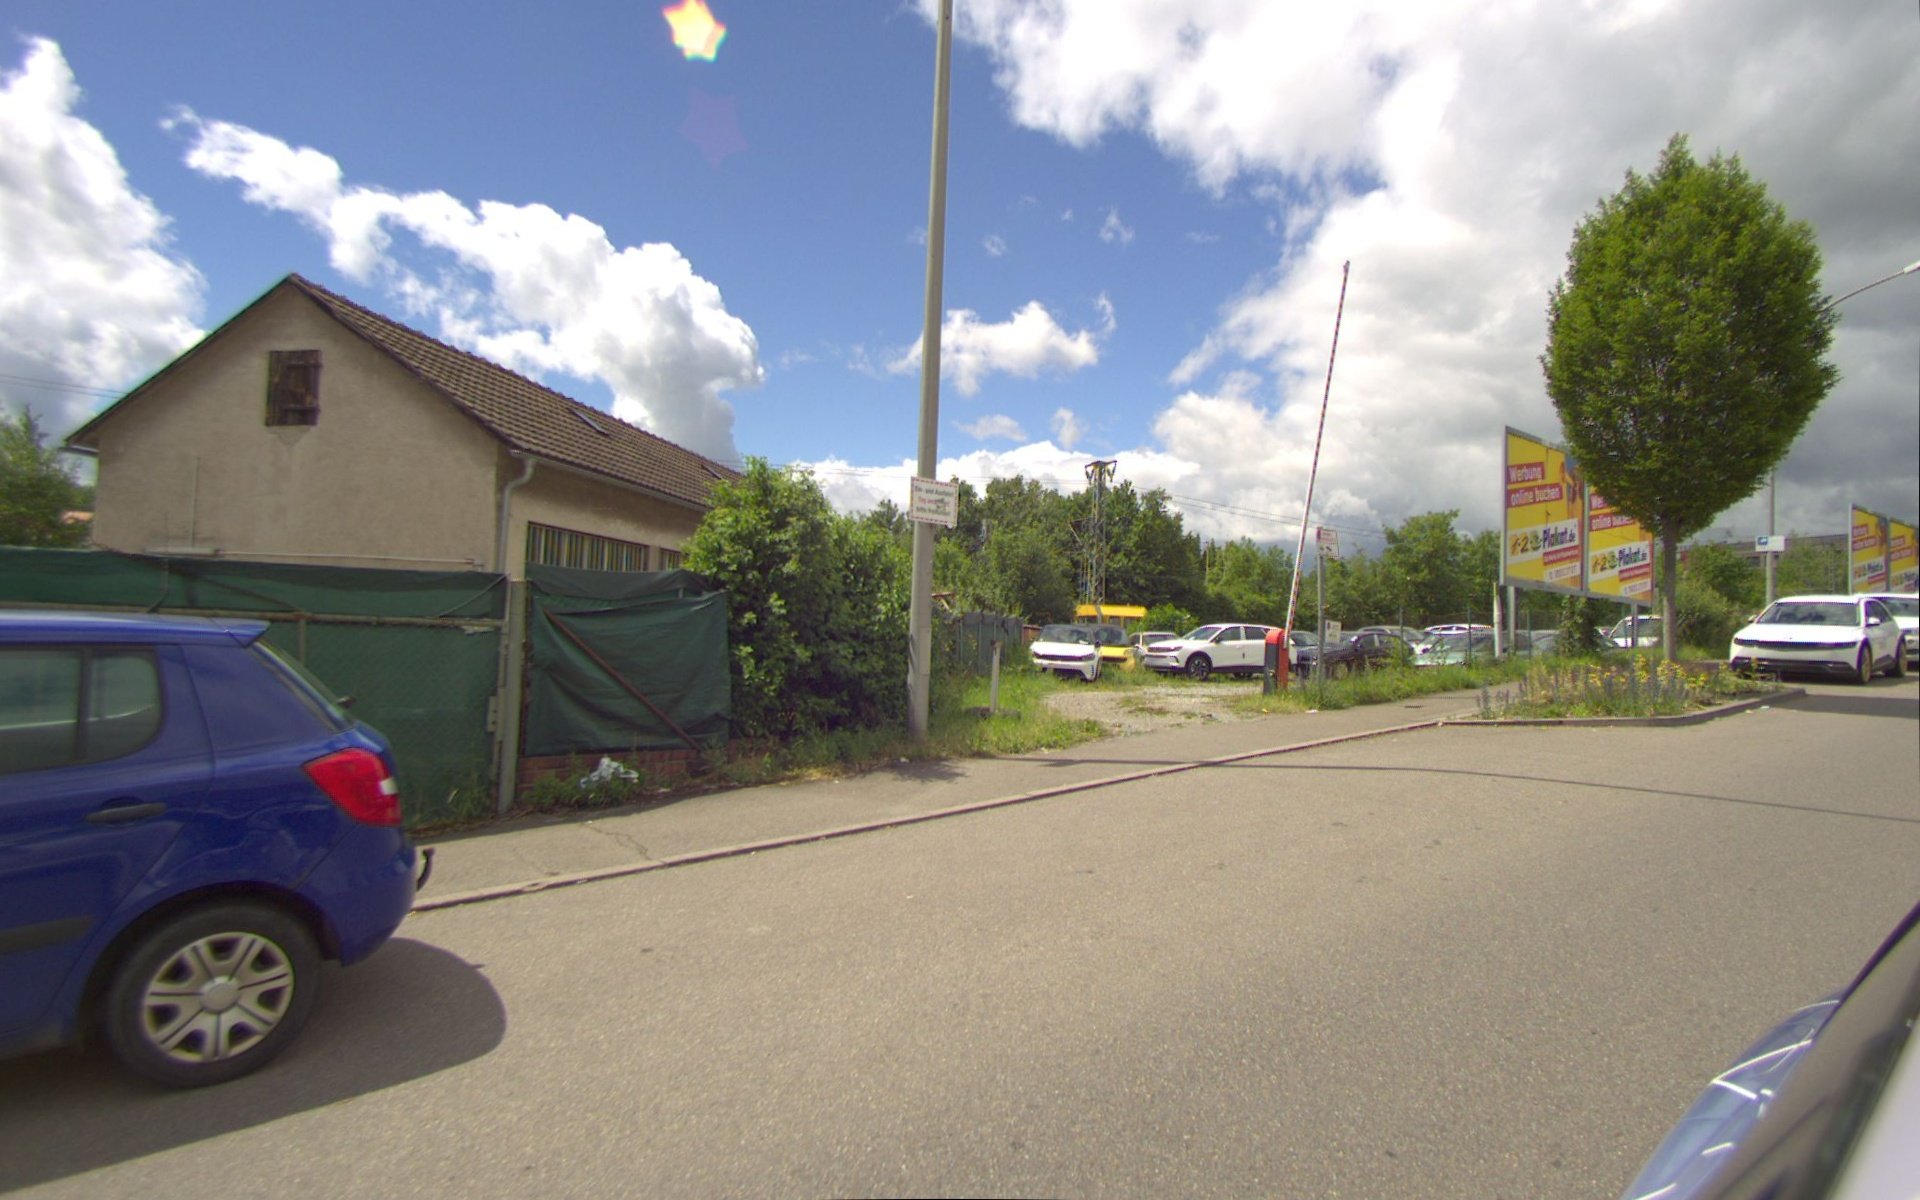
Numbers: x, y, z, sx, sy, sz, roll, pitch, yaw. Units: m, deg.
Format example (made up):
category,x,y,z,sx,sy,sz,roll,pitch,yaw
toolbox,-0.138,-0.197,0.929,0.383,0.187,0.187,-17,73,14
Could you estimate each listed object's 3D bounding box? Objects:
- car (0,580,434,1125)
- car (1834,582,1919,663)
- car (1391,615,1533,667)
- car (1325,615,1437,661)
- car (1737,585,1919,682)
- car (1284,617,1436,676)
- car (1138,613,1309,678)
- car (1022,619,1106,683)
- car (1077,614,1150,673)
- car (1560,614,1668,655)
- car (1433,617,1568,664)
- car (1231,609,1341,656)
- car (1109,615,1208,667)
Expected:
category,x,y,z,sx,sy,sz,roll,pitch,yaw
car,-3.885,0.715,2.874,4.021,1.529,1.570,0,0,-40
car,21.167,0.442,22.621,4.399,1.680,1.689,0,1,-39
car,16.648,1.315,33.538,4.487,1.536,1.761,0,2,-25
car,15.943,1.397,38.576,1.784,1.578,4.008,0,0,-17
car,16.491,0.534,19.067,4.383,1.584,1.847,-1,2,-37
car,12.476,1.403,31.567,4.370,1.642,1.822,0,2,-23
car,7.665,1.300,29.474,4.580,1.706,1.759,1,1,-20
car,2.628,1.191,24.762,1.716,1.408,4.029,1,-1,11
car,4.414,1.225,29.616,1.496,1.407,4.044,1,2,0
car,27.247,1.397,42.326,1.753,1.560,4.003,0,0,-3
car,20.852,1.523,39.271,1.958,1.574,4.470,0,0,-20
car,11.559,1.118,36.190,1.707,1.407,4.053,0,2,-17
car,6.538,1.317,33.846,1.753,1.407,4.197,0,2,-11
